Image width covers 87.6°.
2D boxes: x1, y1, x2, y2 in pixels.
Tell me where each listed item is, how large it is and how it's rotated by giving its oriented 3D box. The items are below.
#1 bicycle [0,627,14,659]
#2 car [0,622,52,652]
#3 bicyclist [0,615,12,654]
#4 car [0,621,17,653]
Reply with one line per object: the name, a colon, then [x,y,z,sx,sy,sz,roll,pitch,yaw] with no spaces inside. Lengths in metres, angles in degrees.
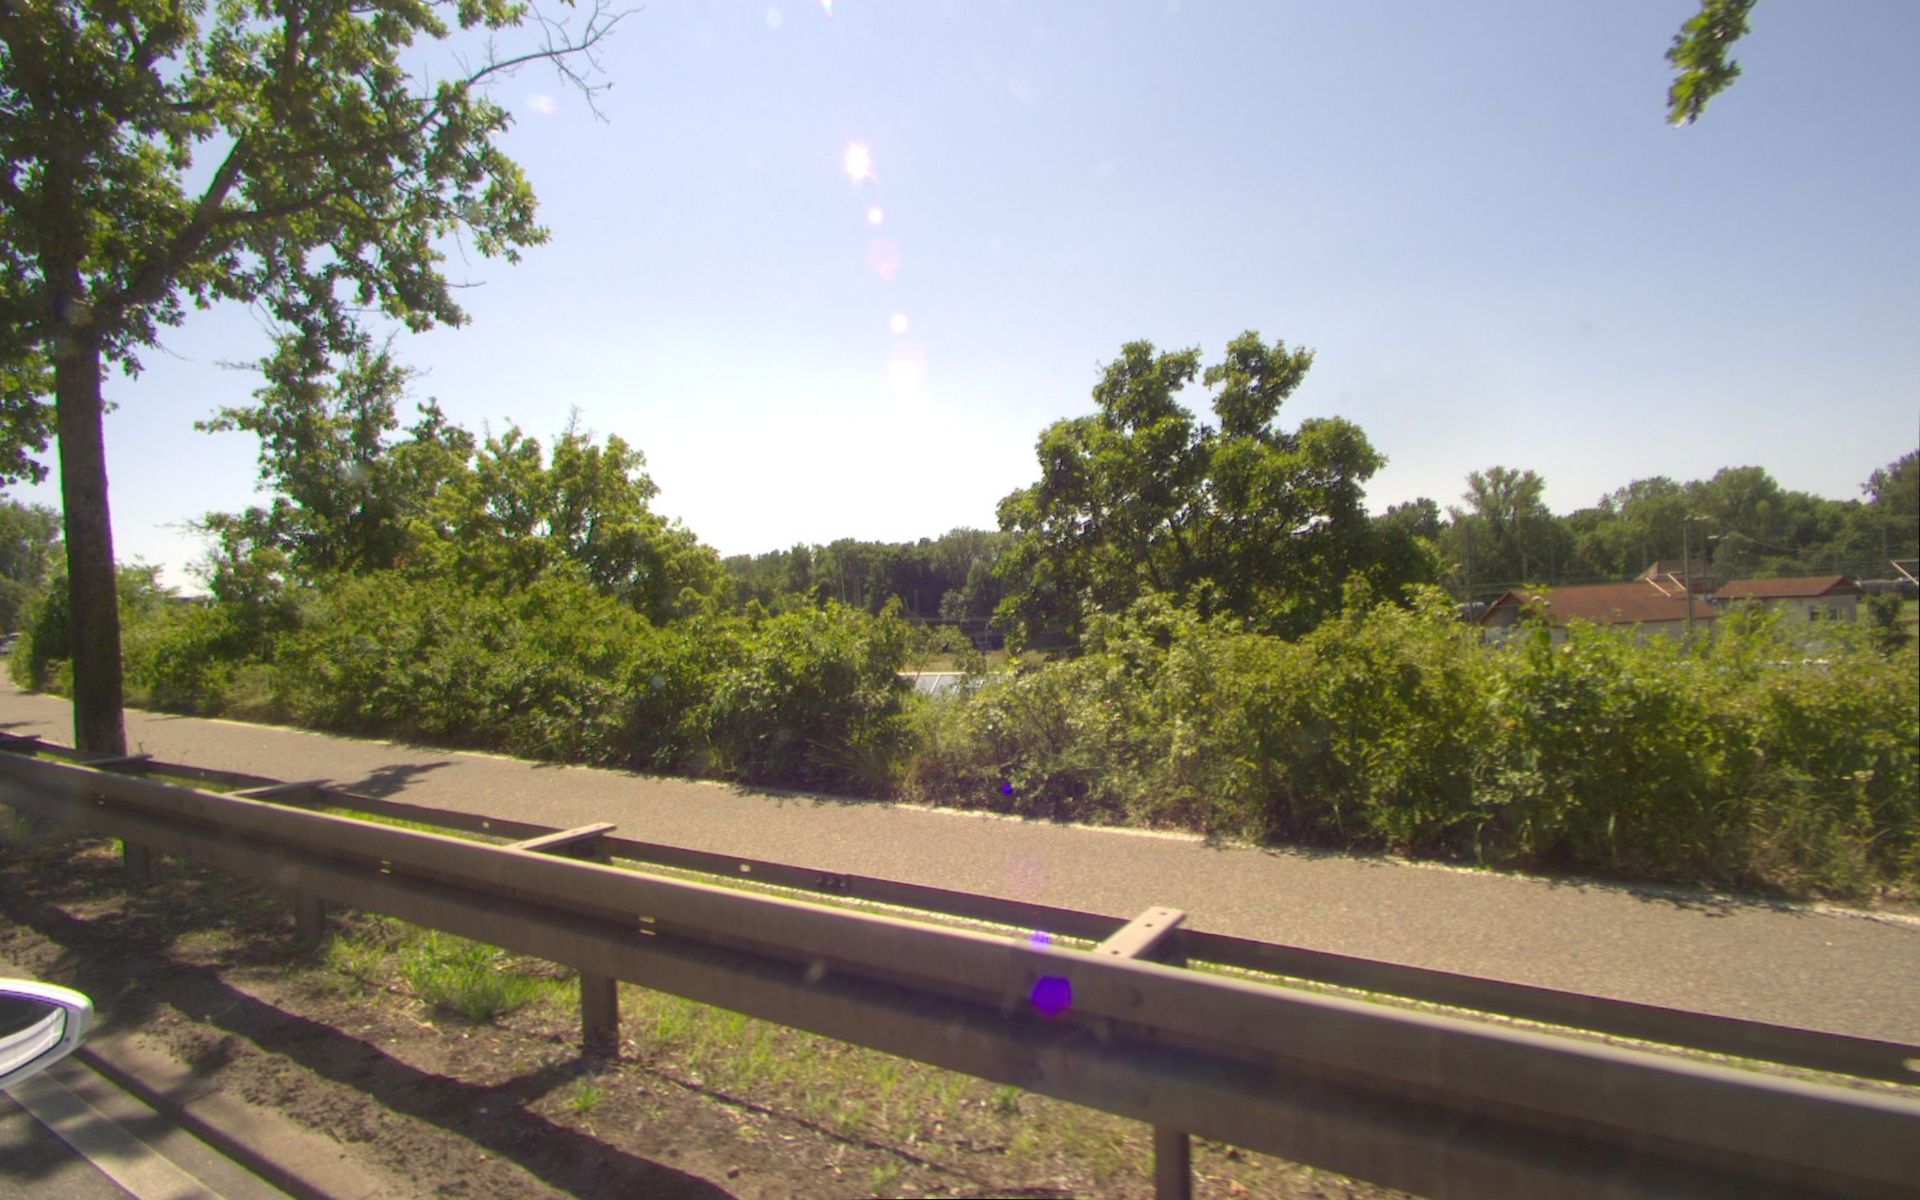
bicycle: [-38.076,1.690,39.616,2.286,1.252,0.855,-2,-2,45]
car: [-58.472,2.303,62.386,1.972,1.790,4.729,0,-2,-31]
bicyclist: [-38.049,1.359,39.555,0.970,1.543,0.855,-1,-1,44]
car: [-55.020,2.088,56.362,1.974,1.739,4.839,1,-2,-33]
